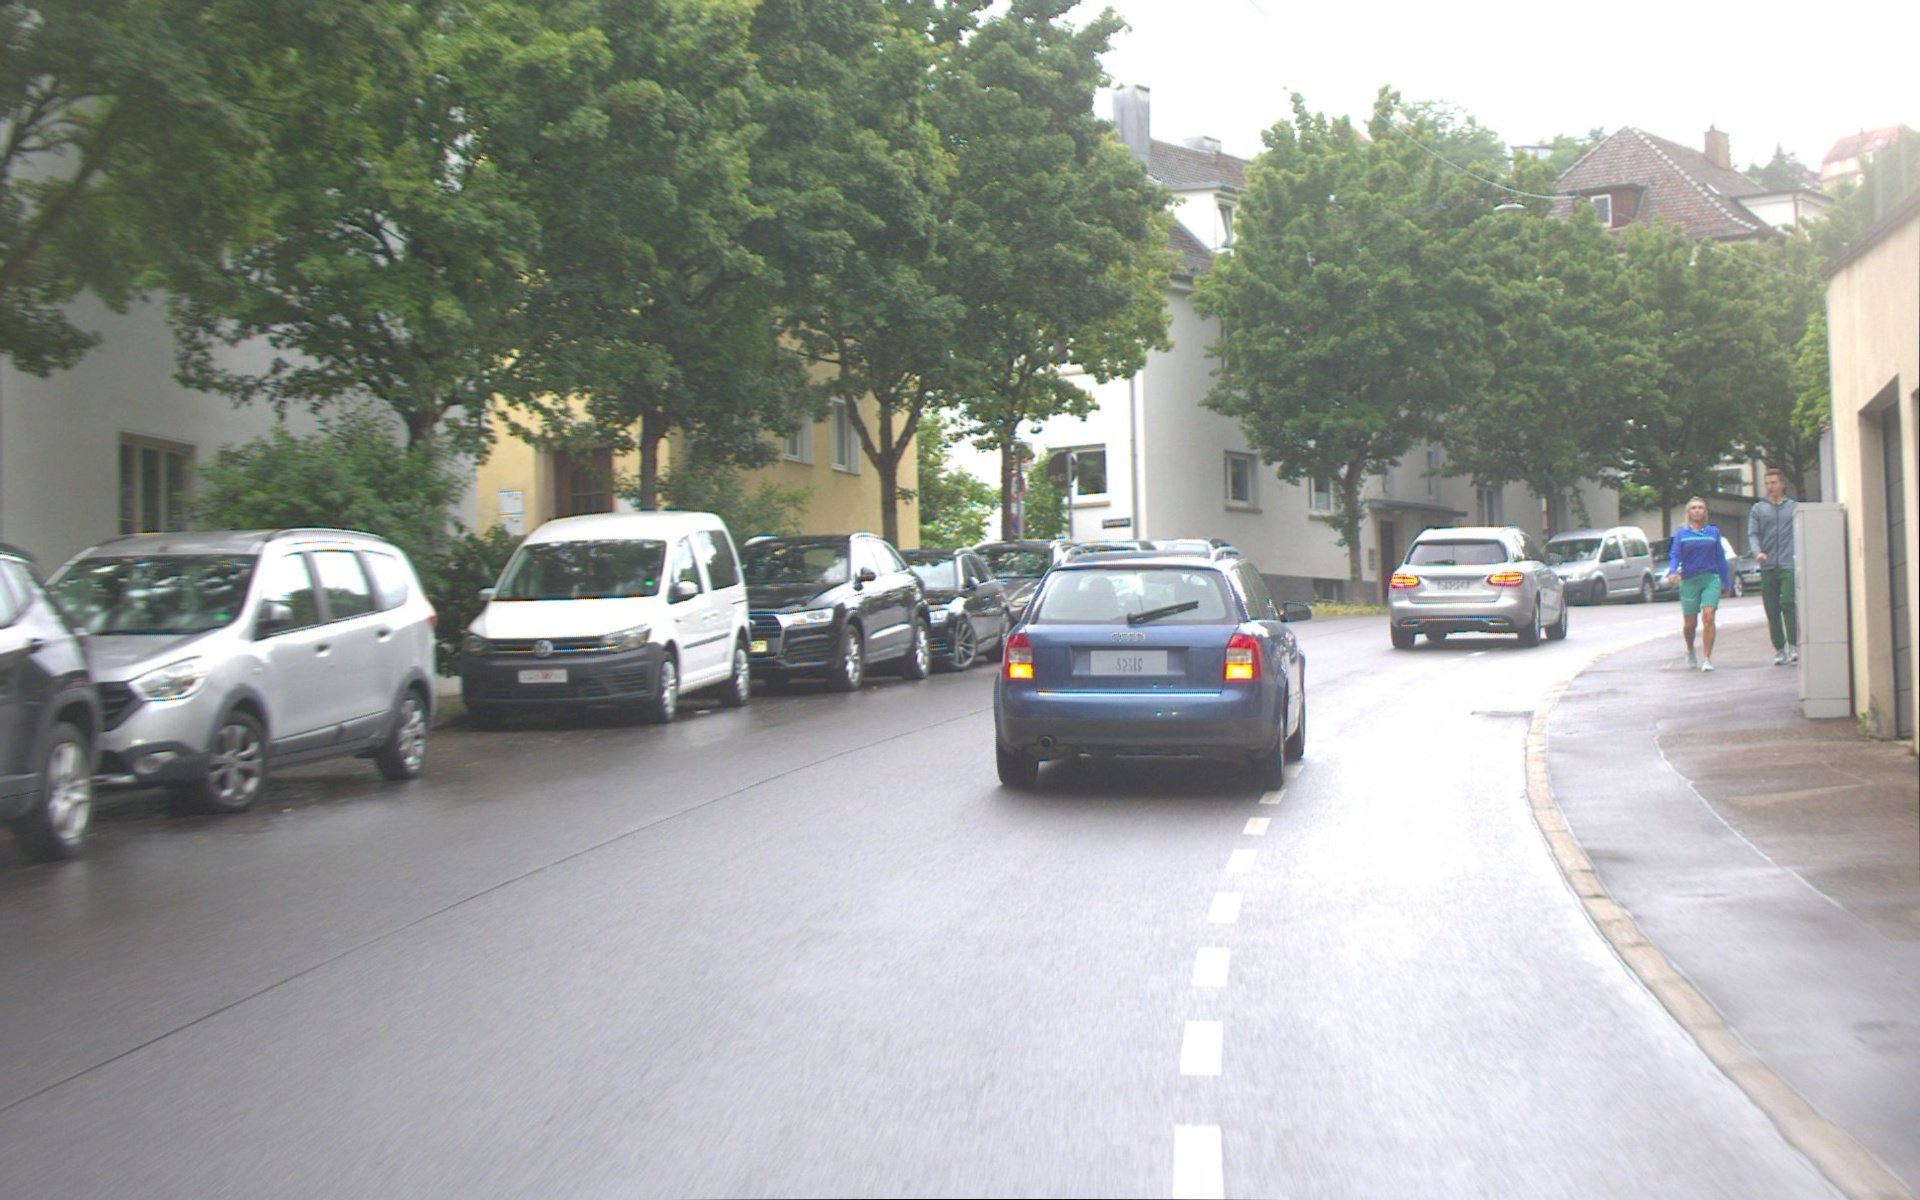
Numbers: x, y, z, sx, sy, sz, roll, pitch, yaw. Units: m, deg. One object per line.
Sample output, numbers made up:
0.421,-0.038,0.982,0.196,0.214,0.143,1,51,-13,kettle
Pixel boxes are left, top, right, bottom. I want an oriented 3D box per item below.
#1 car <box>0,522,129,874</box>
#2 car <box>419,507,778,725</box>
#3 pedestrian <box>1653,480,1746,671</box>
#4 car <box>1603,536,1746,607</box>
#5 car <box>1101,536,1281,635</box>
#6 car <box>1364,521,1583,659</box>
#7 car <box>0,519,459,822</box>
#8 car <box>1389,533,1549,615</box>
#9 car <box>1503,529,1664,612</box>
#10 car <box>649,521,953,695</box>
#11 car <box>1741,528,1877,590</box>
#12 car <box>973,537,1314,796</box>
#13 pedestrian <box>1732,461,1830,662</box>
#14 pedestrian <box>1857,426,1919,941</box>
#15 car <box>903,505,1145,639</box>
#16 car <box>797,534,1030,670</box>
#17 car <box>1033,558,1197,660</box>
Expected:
-5.403,0.477,15.599,1.787,1.635,4.479,-1,1,5,car
-3.108,0.096,30.559,1.855,1.770,4.480,-1,1,12,car
7.013,-0.231,32.643,0.775,1.752,1.011,-3,0,11,pedestrian
16.691,-0.655,80.182,1.808,1.481,4.228,-5,-2,32,car
3.808,-0.253,55.918,1.777,1.535,4.512,-1,1,19,car
6.442,-0.173,42.763,1.952,1.556,4.259,1,2,19,car
-4.760,0.359,21.515,1.747,1.684,4.598,-1,1,11,car
10.477,-0.504,70.543,1.787,1.509,4.339,-5,-3,28,car
13.746,-0.637,75.631,1.787,1.640,4.337,-5,-3,33,car
-1.570,0.043,35.904,1.855,1.662,4.585,-1,1,15,car
20.829,-0.987,84.230,1.808,1.448,4.588,-1,0,33,car
1.271,0.355,21.861,1.854,1.409,4.360,-2,0,6,car
7.735,-0.362,32.431,0.776,1.826,1.250,-3,0,11,pedestrian
3.849,0.287,12.680,0.899,1.844,0.803,-1,0,6,pedestrian
0.923,-0.402,46.309,1.856,1.684,4.550,-1,1,20,car
-0.479,-0.016,40.889,1.855,1.493,4.739,-1,1,11,car
2.354,0.106,51.305,1.615,1.392,4.320,-1,1,14,car
